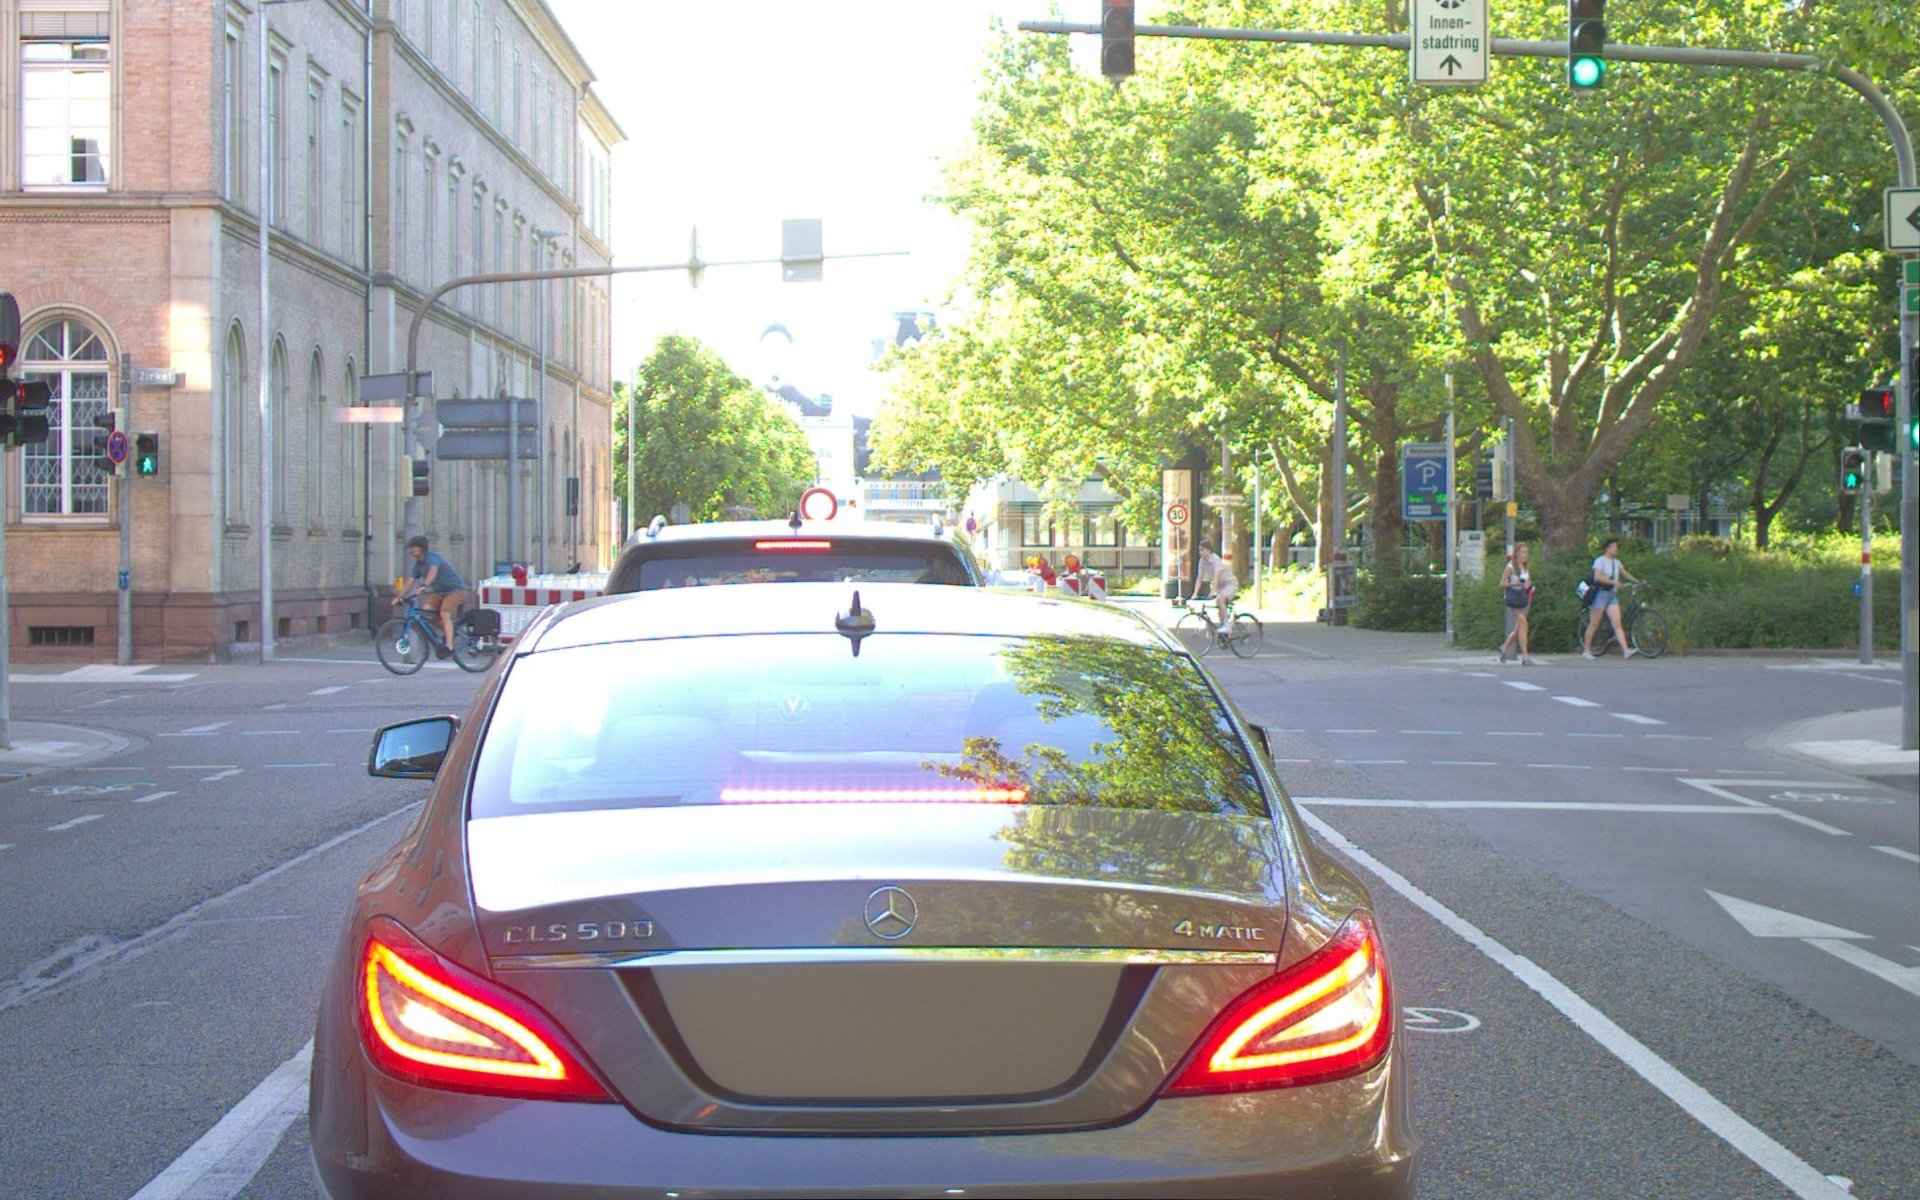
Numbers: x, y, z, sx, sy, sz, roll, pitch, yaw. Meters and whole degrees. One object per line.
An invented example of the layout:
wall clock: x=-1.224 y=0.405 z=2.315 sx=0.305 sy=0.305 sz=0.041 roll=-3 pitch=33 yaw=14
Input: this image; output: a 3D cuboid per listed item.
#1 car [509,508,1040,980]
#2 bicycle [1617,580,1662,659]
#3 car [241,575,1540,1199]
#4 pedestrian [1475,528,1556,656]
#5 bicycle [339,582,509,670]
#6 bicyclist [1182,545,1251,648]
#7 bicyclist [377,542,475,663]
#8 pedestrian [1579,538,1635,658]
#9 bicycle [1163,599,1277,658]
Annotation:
car: x=-0.600 y=0.475 z=13.748 sx=1.809 sy=1.607 sz=4.000 roll=0 pitch=1 yaw=1
bicycle: x=9.674 y=0.261 z=48.946 sx=0.524 sy=1.096 sz=1.740 roll=1 pitch=1 yaw=14
car: x=-0.303 y=0.682 z=7.144 sx=1.842 sy=1.424 sz=4.518 roll=1 pitch=1 yaw=-5
pedestrian: x=7.911 y=-0.115 z=48.980 sx=0.732 sy=1.802 sz=0.909 roll=0 pitch=-1 yaw=-24
bicycle: x=-6.674 y=0.324 z=42.832 sx=1.957 sy=1.059 sz=0.706 roll=0 pitch=1 yaw=-32
bicyclist: x=3.919 y=-0.057 z=52.604 sx=0.804 sy=1.553 sz=0.650 roll=0 pitch=1 yaw=-39
bicyclist: x=-6.657 y=0.029 z=42.848 sx=0.950 sy=1.495 sz=0.822 roll=1 pitch=0 yaw=-32
pedestrian: x=9.235 y=-0.028 z=49.076 sx=0.684 sy=1.691 sz=0.970 roll=1 pitch=0 yaw=16
bicycle: x=3.990 y=0.438 z=52.670 sx=1.862 sy=0.888 sz=0.549 roll=0 pitch=1 yaw=-39
